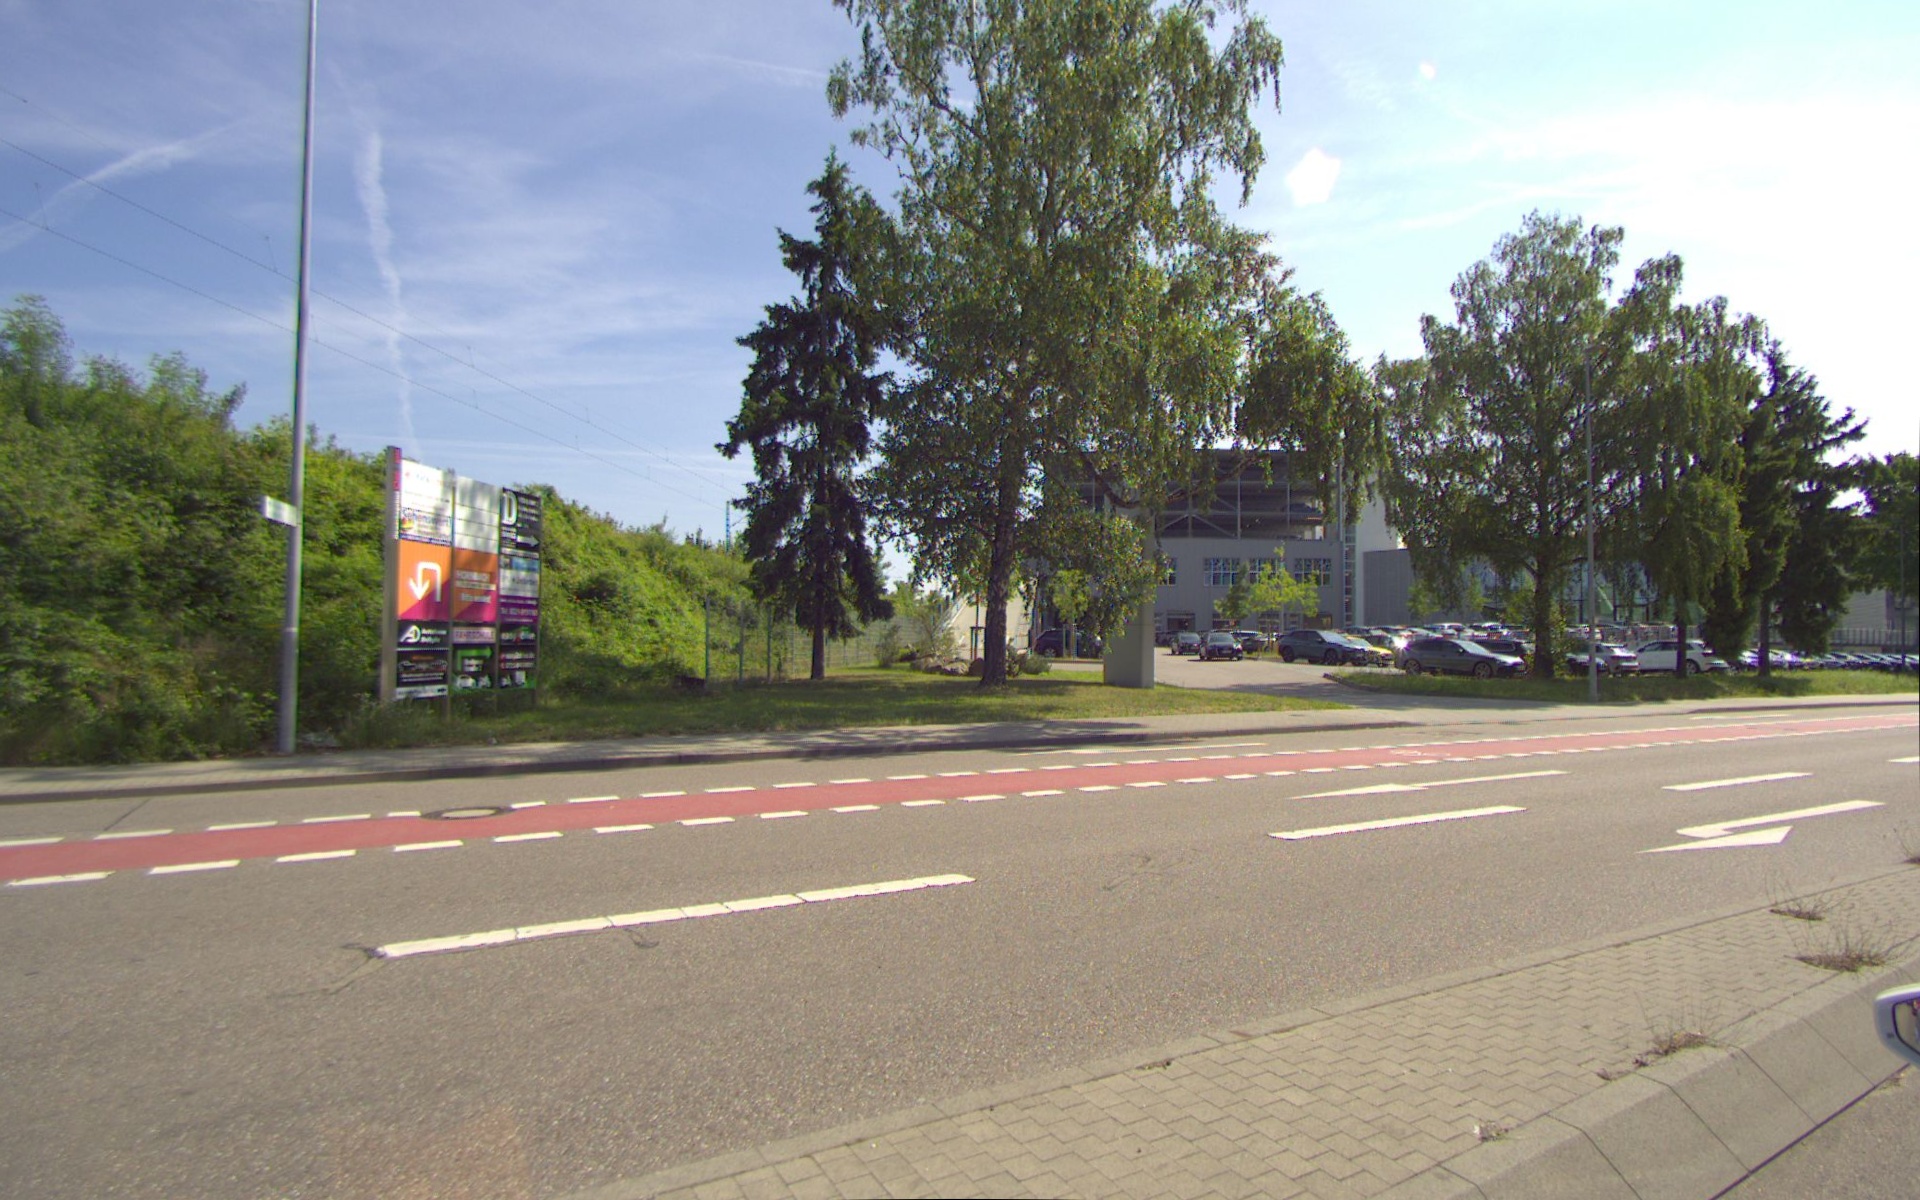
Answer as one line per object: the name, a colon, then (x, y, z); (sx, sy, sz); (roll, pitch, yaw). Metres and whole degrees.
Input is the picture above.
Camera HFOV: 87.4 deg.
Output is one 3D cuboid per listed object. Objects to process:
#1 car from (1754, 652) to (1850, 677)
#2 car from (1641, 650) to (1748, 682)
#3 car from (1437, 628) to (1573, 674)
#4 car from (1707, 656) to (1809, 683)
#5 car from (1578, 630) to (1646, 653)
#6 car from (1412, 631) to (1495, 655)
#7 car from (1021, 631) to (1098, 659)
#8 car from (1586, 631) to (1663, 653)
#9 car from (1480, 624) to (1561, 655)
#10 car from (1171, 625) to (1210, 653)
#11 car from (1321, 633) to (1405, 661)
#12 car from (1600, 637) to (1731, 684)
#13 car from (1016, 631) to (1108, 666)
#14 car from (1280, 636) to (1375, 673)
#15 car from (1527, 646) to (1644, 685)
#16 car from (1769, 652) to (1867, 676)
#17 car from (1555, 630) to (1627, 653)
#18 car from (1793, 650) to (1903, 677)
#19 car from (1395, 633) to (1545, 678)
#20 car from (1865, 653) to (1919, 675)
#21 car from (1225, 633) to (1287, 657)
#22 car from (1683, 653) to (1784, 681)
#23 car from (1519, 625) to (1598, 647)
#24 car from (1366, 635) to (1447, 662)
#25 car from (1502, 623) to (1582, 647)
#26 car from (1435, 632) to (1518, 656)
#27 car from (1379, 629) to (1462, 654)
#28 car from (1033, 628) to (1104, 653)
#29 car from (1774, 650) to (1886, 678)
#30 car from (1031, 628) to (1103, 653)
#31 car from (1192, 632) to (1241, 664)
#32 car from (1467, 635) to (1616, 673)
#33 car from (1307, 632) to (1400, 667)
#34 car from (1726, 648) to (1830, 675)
car: (45.343, 3.472, 54.146); (1.844, 1.302, 3.576); (2, -4, -32)
car: (35.239, 3.140, 48.272); (1.725, 1.302, 3.771); (2, -1, -32)
car: (20.846, 1.925, 38.607); (1.977, 1.567, 4.194); (2, -1, -30)
car: (40.761, 3.548, 51.372); (1.645, 1.302, 3.723); (2, -4, -32)
car: (48.599, 3.091, 74.922); (1.648, 1.515, 3.968); (2, -1, -30)
car: (31.557, 2.744, 64.379); (1.958, 1.504, 4.476); (2, -3, -32)
car: (6.188, 2.793, 62.970); (4.666, 1.567, 1.815); (2, -1, 2)
car: (50.464, 3.157, 76.321); (1.963, 1.515, 4.498); (2, -1, -30)
car: (38.285, 2.690, 68.694); (1.958, 1.988, 4.476); (2, -3, -32)
car: (15.476, 2.618, 67.571); (1.734, 1.725, 4.001); (2, -1, 1)
car: (23.588, 2.736, 58.908); (1.979, 1.496, 4.177); (2, -1, -33)
car: (31.940, 2.709, 45.590); (1.976, 1.900, 4.444); (2, -1, -29)
car: (5.276, 2.503, 52.440); (4.666, 1.639, 2.001); (2, -1, 2)
car: (18.040, 2.657, 49.499); (1.785, 1.585, 4.220); (2, -1, -31)
car: (25.581, 2.643, 41.198); (1.795, 1.389, 3.663); (2, -1, -30)
car: (47.367, 3.551, 55.522); (1.963, 1.302, 3.661); (2, -4, -32)
car: (46.175, 2.993, 73.559); (2.028, 1.515, 3.968); (2, -1, -30)
car: (51.795, 3.682, 58.688); (1.898, 1.495, 4.476); (2, -3, -32)
car: (18.865, 2.028, 37.391); (1.977, 1.408, 4.664); (2, -1, -30)
car: (59.753, 4.023, 62.728); (1.898, 1.307, 4.476); (2, -3, -32)
car: (21.315, 3.242, 72.372); (3.920, 1.679, 2.001); (1, -2, 1)
car: (38.268, 3.320, 49.778); (1.725, 1.302, 3.576); (2, -4, -32)
car: (42.609, 2.582, 71.588); (1.958, 1.504, 4.476); (2, -3, -32)
car: (27.391, 2.958, 61.765); (1.979, 1.496, 4.177); (2, -1, -33)
car: (40.639, 2.450, 70.227); (1.958, 1.571, 4.476); (2, -3, -32)
car: (33.741, 2.868, 65.755); (1.958, 1.504, 4.476); (2, -3, -32)
car: (29.025, 2.604, 63.384); (1.870, 1.437, 4.475); (2, -1, -32)
car: (7.391, 2.779, 68.886); (4.666, 1.567, 1.815); (2, -1, 2)
car: (49.501, 3.613, 57.239); (1.958, 1.495, 4.476); (2, -3, -32)
car: (7.548, 2.868, 71.372); (4.863, 1.569, 2.000); (2, -1, 0)
car: (13.683, 2.548, 53.810); (1.628, 1.567, 4.037); (2, -1, 0)
car: (23.046, 2.129, 40.025); (1.977, 1.285, 4.828); (2, -1, -30)
car: (20.042, 2.509, 51.289); (1.785, 1.585, 4.220); (2, -1, -31)
car: (43.018, 3.231, 52.906); (1.820, 1.357, 3.868); (2, -4, -32)
